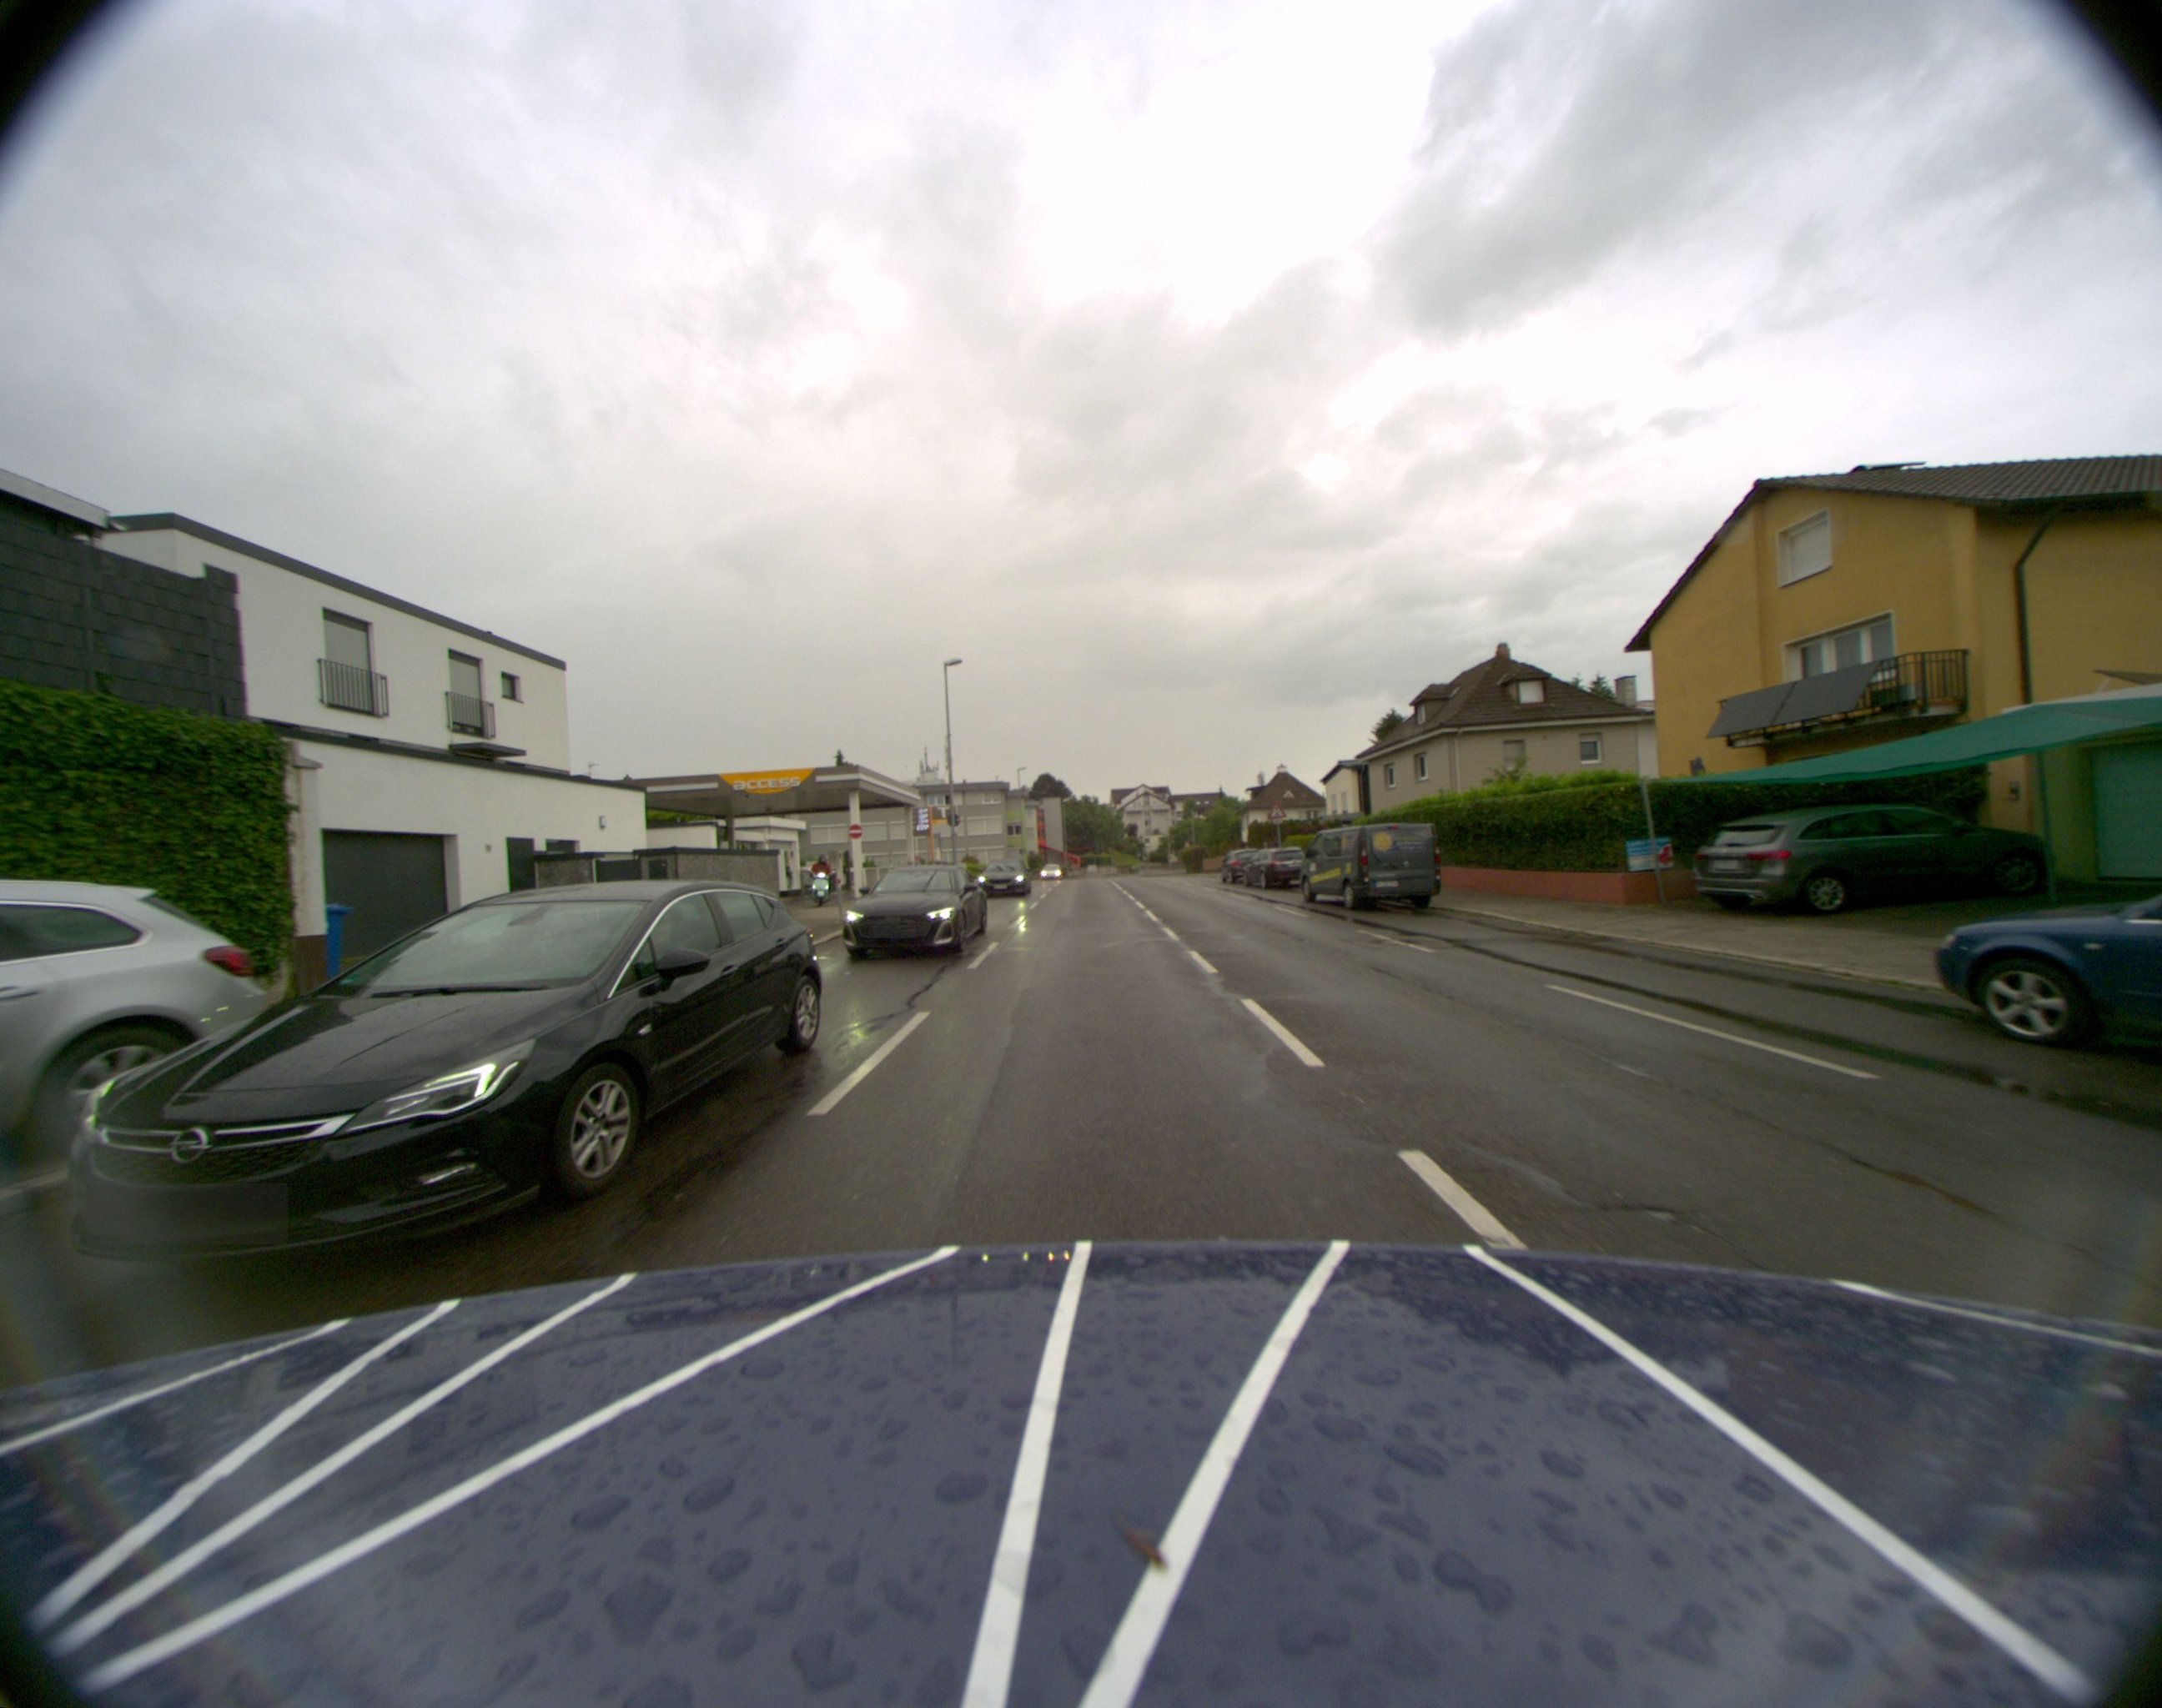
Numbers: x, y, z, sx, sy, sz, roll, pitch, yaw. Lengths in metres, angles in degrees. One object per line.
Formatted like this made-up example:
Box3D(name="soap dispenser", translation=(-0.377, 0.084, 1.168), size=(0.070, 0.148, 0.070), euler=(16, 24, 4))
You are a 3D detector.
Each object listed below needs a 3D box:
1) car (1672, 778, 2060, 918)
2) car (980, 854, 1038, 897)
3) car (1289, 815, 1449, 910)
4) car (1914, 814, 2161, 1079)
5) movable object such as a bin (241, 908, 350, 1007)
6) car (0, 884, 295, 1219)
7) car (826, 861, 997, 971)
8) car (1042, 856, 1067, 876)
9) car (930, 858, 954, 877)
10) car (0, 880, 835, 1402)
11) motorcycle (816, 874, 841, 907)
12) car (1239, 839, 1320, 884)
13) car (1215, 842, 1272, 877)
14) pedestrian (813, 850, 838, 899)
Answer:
Box3D(name="car", translation=(12.111, -0.095, 11.964), size=(3.969, 1.604, 1.918), euler=(-6, 1, 2))
Box3D(name="car", translation=(-2.920, 0.842, 31.552), size=(1.872, 1.510, 3.999), euler=(-3, 1, 1))
Box3D(name="car", translation=(7.034, 0.149, 19.246), size=(1.918, 1.991, 5.086), euler=(-3, 1, -1))
Box3D(name="car", translation=(7.259, 0.544, 3.674), size=(1.761, 1.524, 4.286), euler=(-3, 1, 1))
Box3D(name="movable object such as a bin", translation=(-9.459, 1.230, 9.172), size=(0.597, 1.098, 0.667), euler=(0, 1, 1))
Box3D(name="car", translation=(-5.968, 1.022, 2.601), size=(1.704, 1.501, 4.534), euler=(-3, 1, 1))
Box3D(name="car", translation=(-2.773, 0.946, 13.641), size=(1.871, 1.416, 4.738), euler=(-3, 1, 1))
Box3D(name="car", translation=(-2.457, 1.116, 70.618), size=(1.998, 1.647, 3.999), euler=(-3, 1, 1))
Box3D(name="car", translation=(-12.355, 1.176, 67.699), size=(1.815, 1.518, 3.997), euler=(0, 1, -7))
Box3D(name="car", translation=(-3.067, 1.026, 4.470), size=(1.760, 1.441, 4.000), euler=(-3, 1, 2))
Box3D(name="motorcycle", translation=(-8.639, 1.225, 25.930), size=(0.464, 1.049, 1.387), euler=(-4, 1, -31))
Box3D(name="car", translation=(7.550, 0.223, 29.345), size=(1.755, 1.508, 4.526), euler=(-3, 1, -1))
Box3D(name="car", translation=(7.543, 0.214, 35.556), size=(1.754, 1.431, 4.129), euler=(-3, 1, 1))
Box3D(name="pedestrian", translation=(-8.756, 0.691, 26.054), size=(0.612, 1.646, 0.584), euler=(-4, 2, -31))
